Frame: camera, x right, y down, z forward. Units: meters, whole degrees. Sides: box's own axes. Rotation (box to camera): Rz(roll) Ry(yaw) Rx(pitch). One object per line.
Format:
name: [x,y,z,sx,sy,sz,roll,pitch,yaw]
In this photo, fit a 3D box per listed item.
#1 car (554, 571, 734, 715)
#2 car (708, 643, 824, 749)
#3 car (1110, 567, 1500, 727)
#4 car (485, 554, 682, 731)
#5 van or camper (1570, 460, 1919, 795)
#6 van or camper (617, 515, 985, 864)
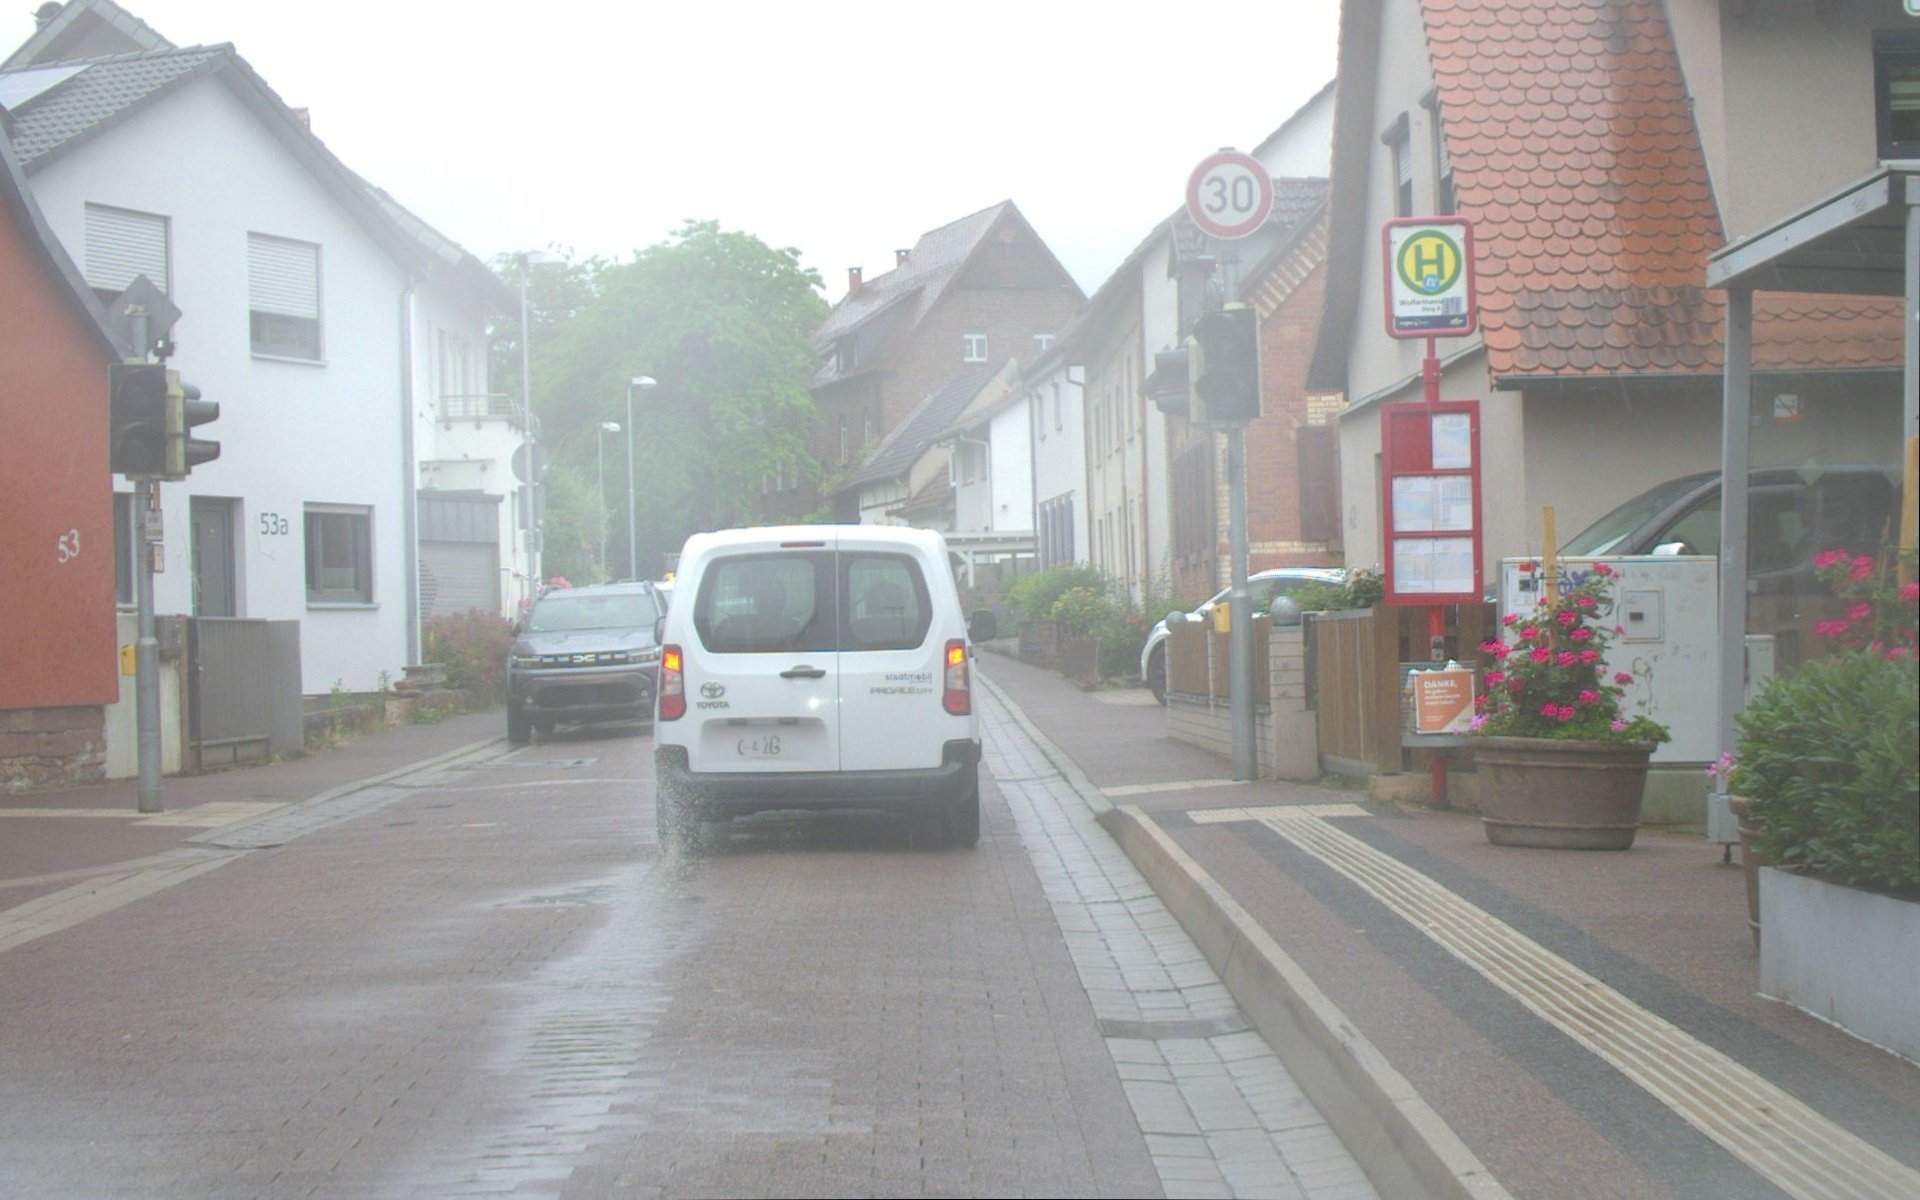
car: [-3.972,0.546,43.794,1.748,1.631,4.418,-3,-1,1]
car: [-3.215,1.604,56.516,1.688,1.560,3.934,-2,-3,-6]
car: [3.810,0.474,38.793,1.871,1.584,4.619,0,2,-33]
car: [-4.058,0.414,37.559,1.812,1.773,4.018,-2,1,-2]
van or camper: [6.459,0.186,20.967,5.068,1.916,1.876,1,0,-4]
van or camper: [-0.868,0.450,20.238,1.943,1.845,4.000,0,1,-1]
